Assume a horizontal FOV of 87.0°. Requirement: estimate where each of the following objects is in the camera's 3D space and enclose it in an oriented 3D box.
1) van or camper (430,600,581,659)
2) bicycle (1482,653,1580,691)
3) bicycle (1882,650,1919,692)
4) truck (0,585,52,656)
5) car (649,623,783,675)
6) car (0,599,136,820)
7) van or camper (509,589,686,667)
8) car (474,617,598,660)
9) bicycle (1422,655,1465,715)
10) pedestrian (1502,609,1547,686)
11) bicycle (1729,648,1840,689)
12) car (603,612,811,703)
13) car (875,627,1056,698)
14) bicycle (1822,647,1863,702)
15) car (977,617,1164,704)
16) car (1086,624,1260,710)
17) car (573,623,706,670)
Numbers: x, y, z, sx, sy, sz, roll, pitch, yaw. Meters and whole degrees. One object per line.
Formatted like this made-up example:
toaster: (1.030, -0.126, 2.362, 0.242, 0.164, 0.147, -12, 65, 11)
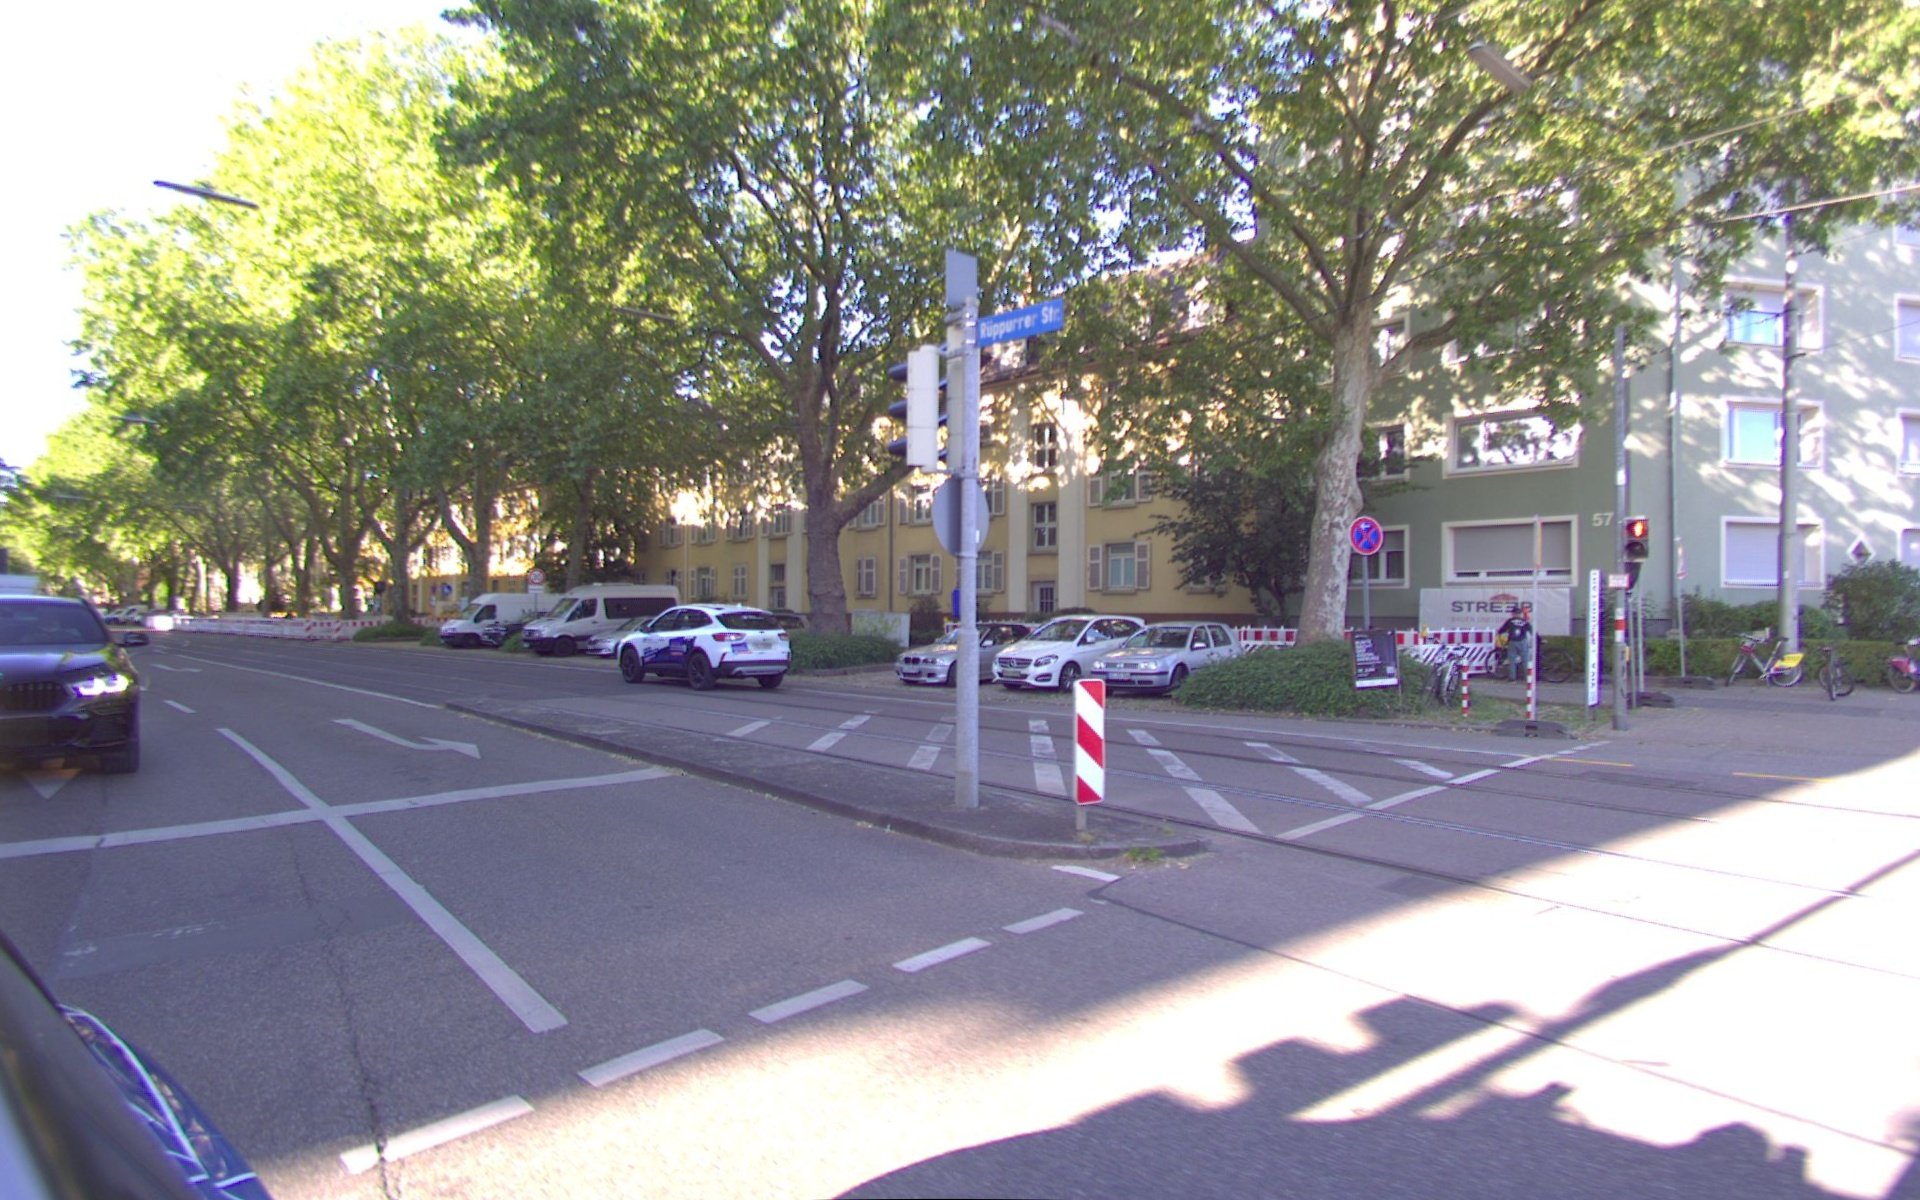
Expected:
van or camper: (-19.895, 1.223, 44.476, 5.681, 2.403, 2.158, 0, 0, -44)
bicycle: (12.228, 1.537, 21.717, 1.767, 0.765, 0.356, 0, -2, 21)
bicycle: (18.429, 1.338, 19.235, 1.751, 0.765, 0.359, 0, -1, -11)
truck: (-44.212, 0.923, 47.175, 5.213, 3.137, 2.312, 0, 0, 43)
car: (-7.711, 1.507, 32.116, 3.805, 1.457, 1.695, 0, 0, -43)
car: (-9.334, 0.881, 9.777, 1.902, 1.765, 4.689, 0, 0, -42)
van or camper: (-13.414, 0.962, 37.745, 5.847, 2.668, 2.158, 0, 0, -44)
car: (-17.662, 1.558, 42.245, 4.474, 1.645, 1.695, 0, 0, -43)
bicycle: (7.919, 1.366, 16.550, 0.357, 0.895, 1.554, -1, -2, 35)
pedestrian: (11.892, 0.992, 21.335, 0.737, 1.580, 0.598, -1, -2, 21)
bicycle: (16.159, 1.342, 19.863, 1.758, 0.765, 0.358, 0, -1, 6)
car: (-5.252, 1.099, 20.667, 4.631, 1.644, 1.971, -1, -2, 44)
car: (0.188, 1.364, 23.364, 4.021, 1.379, 1.847, 0, 0, -43)
bicycle: (15.585, 1.292, 17.889, 0.357, 0.895, 1.759, -1, -2, 35)
car: (2.452, 1.232, 21.926, 4.021, 1.624, 1.847, 0, 0, -43)
car: (4.318, 1.240, 20.159, 1.703, 1.428, 3.945, 0, 0, 41)
car: (-11.332, 1.602, 35.943, 4.214, 1.457, 1.695, 0, 0, -43)
